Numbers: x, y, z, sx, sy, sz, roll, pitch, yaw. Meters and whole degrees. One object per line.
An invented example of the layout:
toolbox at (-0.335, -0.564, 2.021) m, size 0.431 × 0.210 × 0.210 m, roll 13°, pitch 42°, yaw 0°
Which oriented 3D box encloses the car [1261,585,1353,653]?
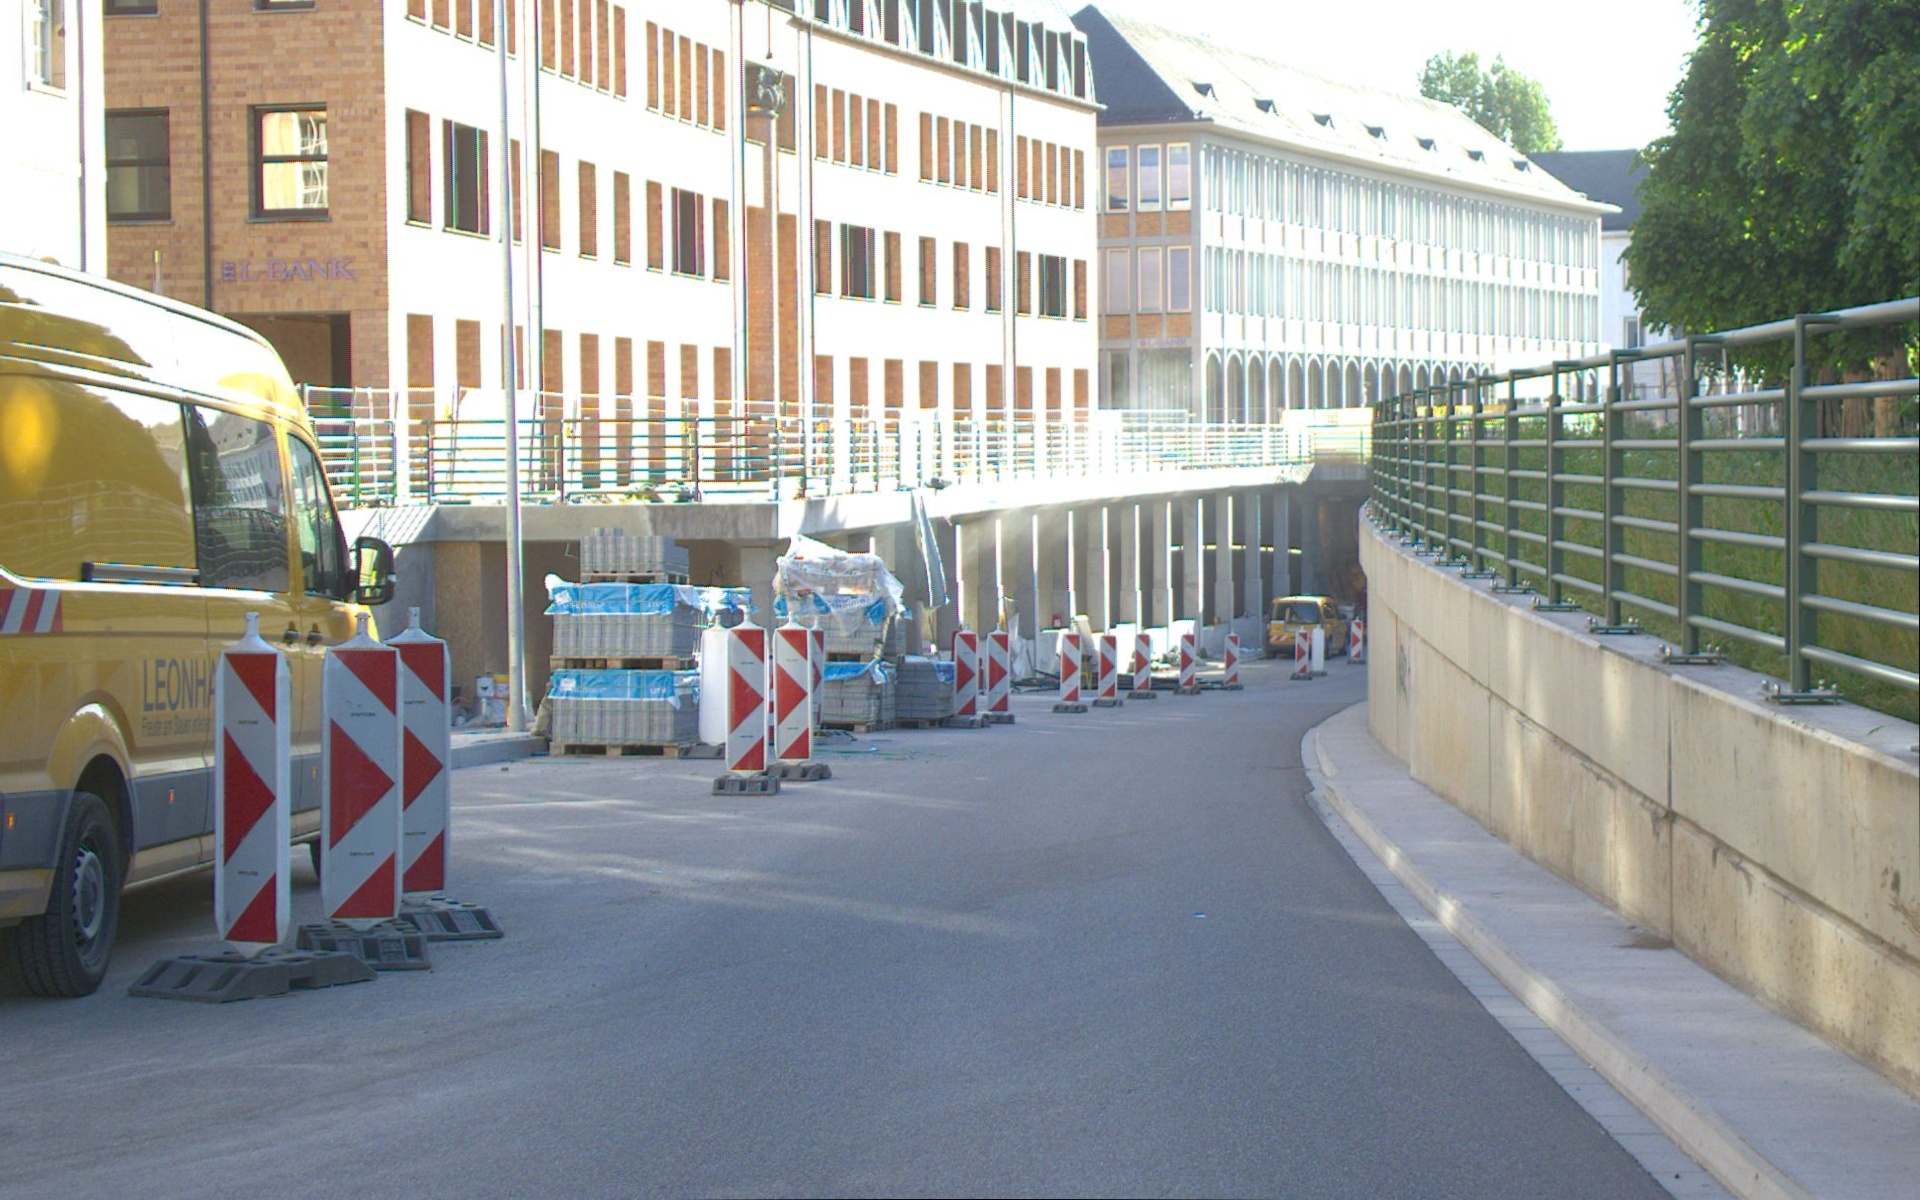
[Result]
car at (10.039, 0.520, 99.117) m, size 1.849 × 1.769 × 4.431 m, roll 1°, pitch 2°, yaw 16°

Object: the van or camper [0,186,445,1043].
van or camper at (-3.855, 0.011, 13.771) m, size 2.194 × 2.603 × 6.824 m, roll 2°, pitch 0°, yaw 3°
